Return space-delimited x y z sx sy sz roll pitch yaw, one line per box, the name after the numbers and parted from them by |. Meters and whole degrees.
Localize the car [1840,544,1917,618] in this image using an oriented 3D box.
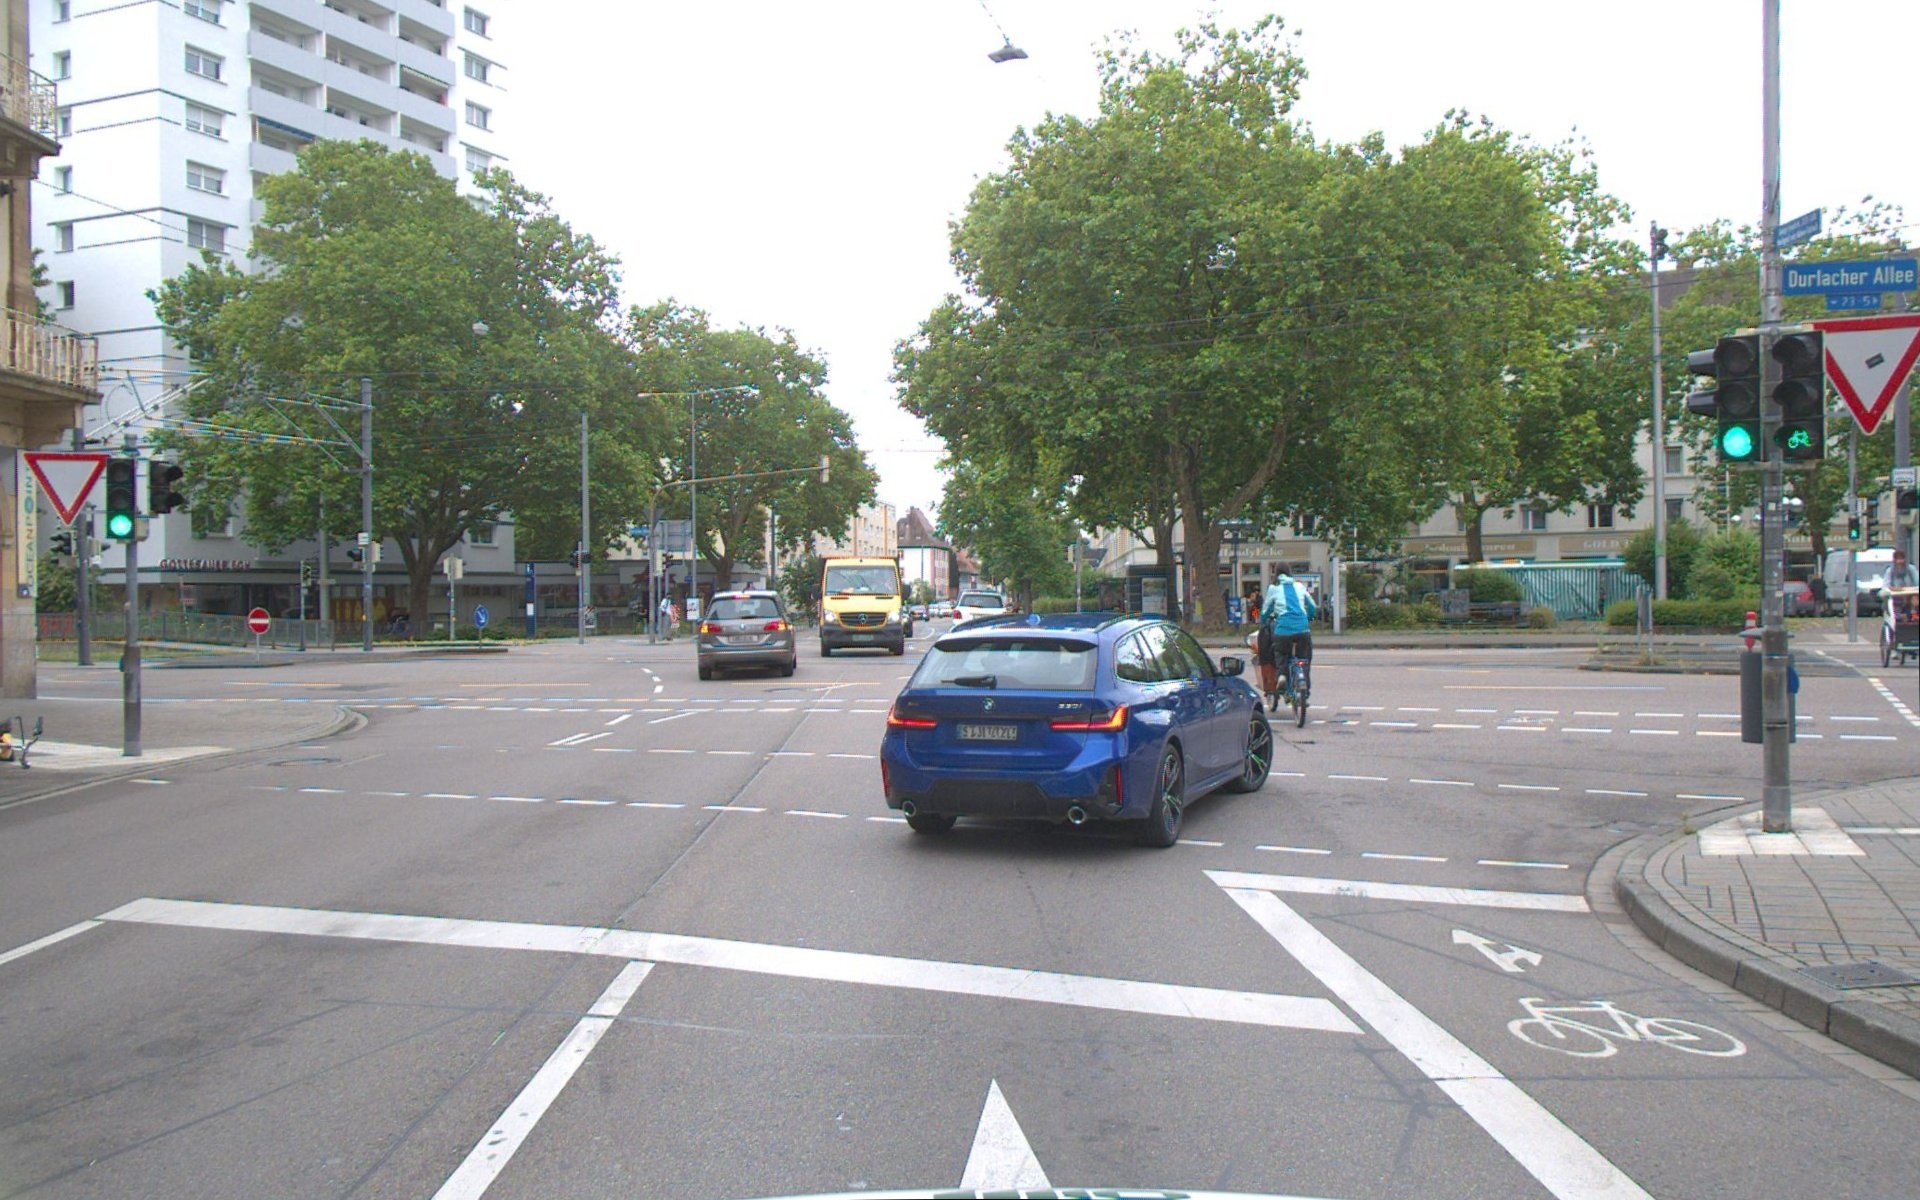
35.285 -0.731 63.644 2.191 2.685 5.443 -1 0 25 | car

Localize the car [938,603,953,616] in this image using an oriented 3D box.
-1.682 1.117 191.856 1.731 1.512 4.000 -1 0 0 | car

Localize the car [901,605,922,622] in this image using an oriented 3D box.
-4.449 1.249 152.299 1.815 1.478 4.167 -1 0 0 | car

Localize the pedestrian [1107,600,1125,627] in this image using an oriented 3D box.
8.101 0.687 85.906 0.801 1.396 0.762 -1 0 0 | pedestrian

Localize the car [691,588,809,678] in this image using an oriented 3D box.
-3.888 0.576 31.186 1.697 1.551 4.000 -1 0 0 | car

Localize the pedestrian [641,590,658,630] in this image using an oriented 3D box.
-14.230 0.453 75.723 0.562 1.816 0.620 -1 0 8 | pedestrian

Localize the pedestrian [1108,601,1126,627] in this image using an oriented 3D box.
8.055 0.715 85.033 0.835 1.337 0.762 -1 0 0 | pedestrian

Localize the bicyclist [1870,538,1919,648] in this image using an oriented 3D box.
14.610 -0.113 25.808 0.601 1.683 0.754 -1 0 21 | bicyclist

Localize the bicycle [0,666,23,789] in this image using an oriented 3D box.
-9.293 1.057 14.454 1.849 1.053 0.442 5 0 -3 | bicycle

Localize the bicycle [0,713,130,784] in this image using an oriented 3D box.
-8.973 1.353 15.495 1.849 0.453 1.028 5 1 -2 | bicycle

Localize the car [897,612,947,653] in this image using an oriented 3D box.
-1.445 1.239 63.963 1.772 1.452 4.317 -1 0 0 | car

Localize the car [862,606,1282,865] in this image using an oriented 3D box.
1.012 0.799 11.811 1.778 1.430 4.320 -1 0 21 | car

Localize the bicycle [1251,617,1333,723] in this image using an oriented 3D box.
3.806 0.777 19.096 0.484 1.117 2.138 -1 0 0 | bicycle

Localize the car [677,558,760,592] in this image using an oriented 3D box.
-12.778 -1.314 87.642 3.943 1.736 1.981 0 -1 -29 | car

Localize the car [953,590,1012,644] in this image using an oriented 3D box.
0.668 0.507 52.376 1.778 1.620 4.000 -1 0 0 | car

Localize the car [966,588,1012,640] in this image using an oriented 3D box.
1.156 0.561 68.445 1.778 2.040 4.000 -1 0 0 | car

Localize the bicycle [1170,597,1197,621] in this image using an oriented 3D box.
11.754 0.465 86.881 0.762 1.188 2.331 -1 0 25 | bicycle

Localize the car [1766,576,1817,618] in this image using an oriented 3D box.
31.912 -0.111 63.526 1.632 1.542 3.935 -1 0 25 | car

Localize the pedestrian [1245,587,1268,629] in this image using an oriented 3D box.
12.504 0.331 69.743 0.768 1.774 0.925 -1 0 -2 | pedestrian

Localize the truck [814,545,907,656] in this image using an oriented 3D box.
-2.509 -0.002 40.389 2.035 2.450 5.456 -2 0 -5 | truck

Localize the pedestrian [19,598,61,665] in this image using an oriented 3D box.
-22.904 0.787 41.170 0.716 1.631 0.588 -1 0 23 | pedestrian

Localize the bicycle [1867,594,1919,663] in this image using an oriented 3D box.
14.600 0.428 25.793 0.540 1.013 2.061 -1 0 22 | bicycle

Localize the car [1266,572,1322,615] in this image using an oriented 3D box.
18.195 -0.353 90.012 2.130 2.239 3.998 -1 0 24 | car

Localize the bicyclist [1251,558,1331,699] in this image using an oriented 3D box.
3.761 0.315 18.848 0.672 1.544 1.058 -1 0 0 | bicyclist
